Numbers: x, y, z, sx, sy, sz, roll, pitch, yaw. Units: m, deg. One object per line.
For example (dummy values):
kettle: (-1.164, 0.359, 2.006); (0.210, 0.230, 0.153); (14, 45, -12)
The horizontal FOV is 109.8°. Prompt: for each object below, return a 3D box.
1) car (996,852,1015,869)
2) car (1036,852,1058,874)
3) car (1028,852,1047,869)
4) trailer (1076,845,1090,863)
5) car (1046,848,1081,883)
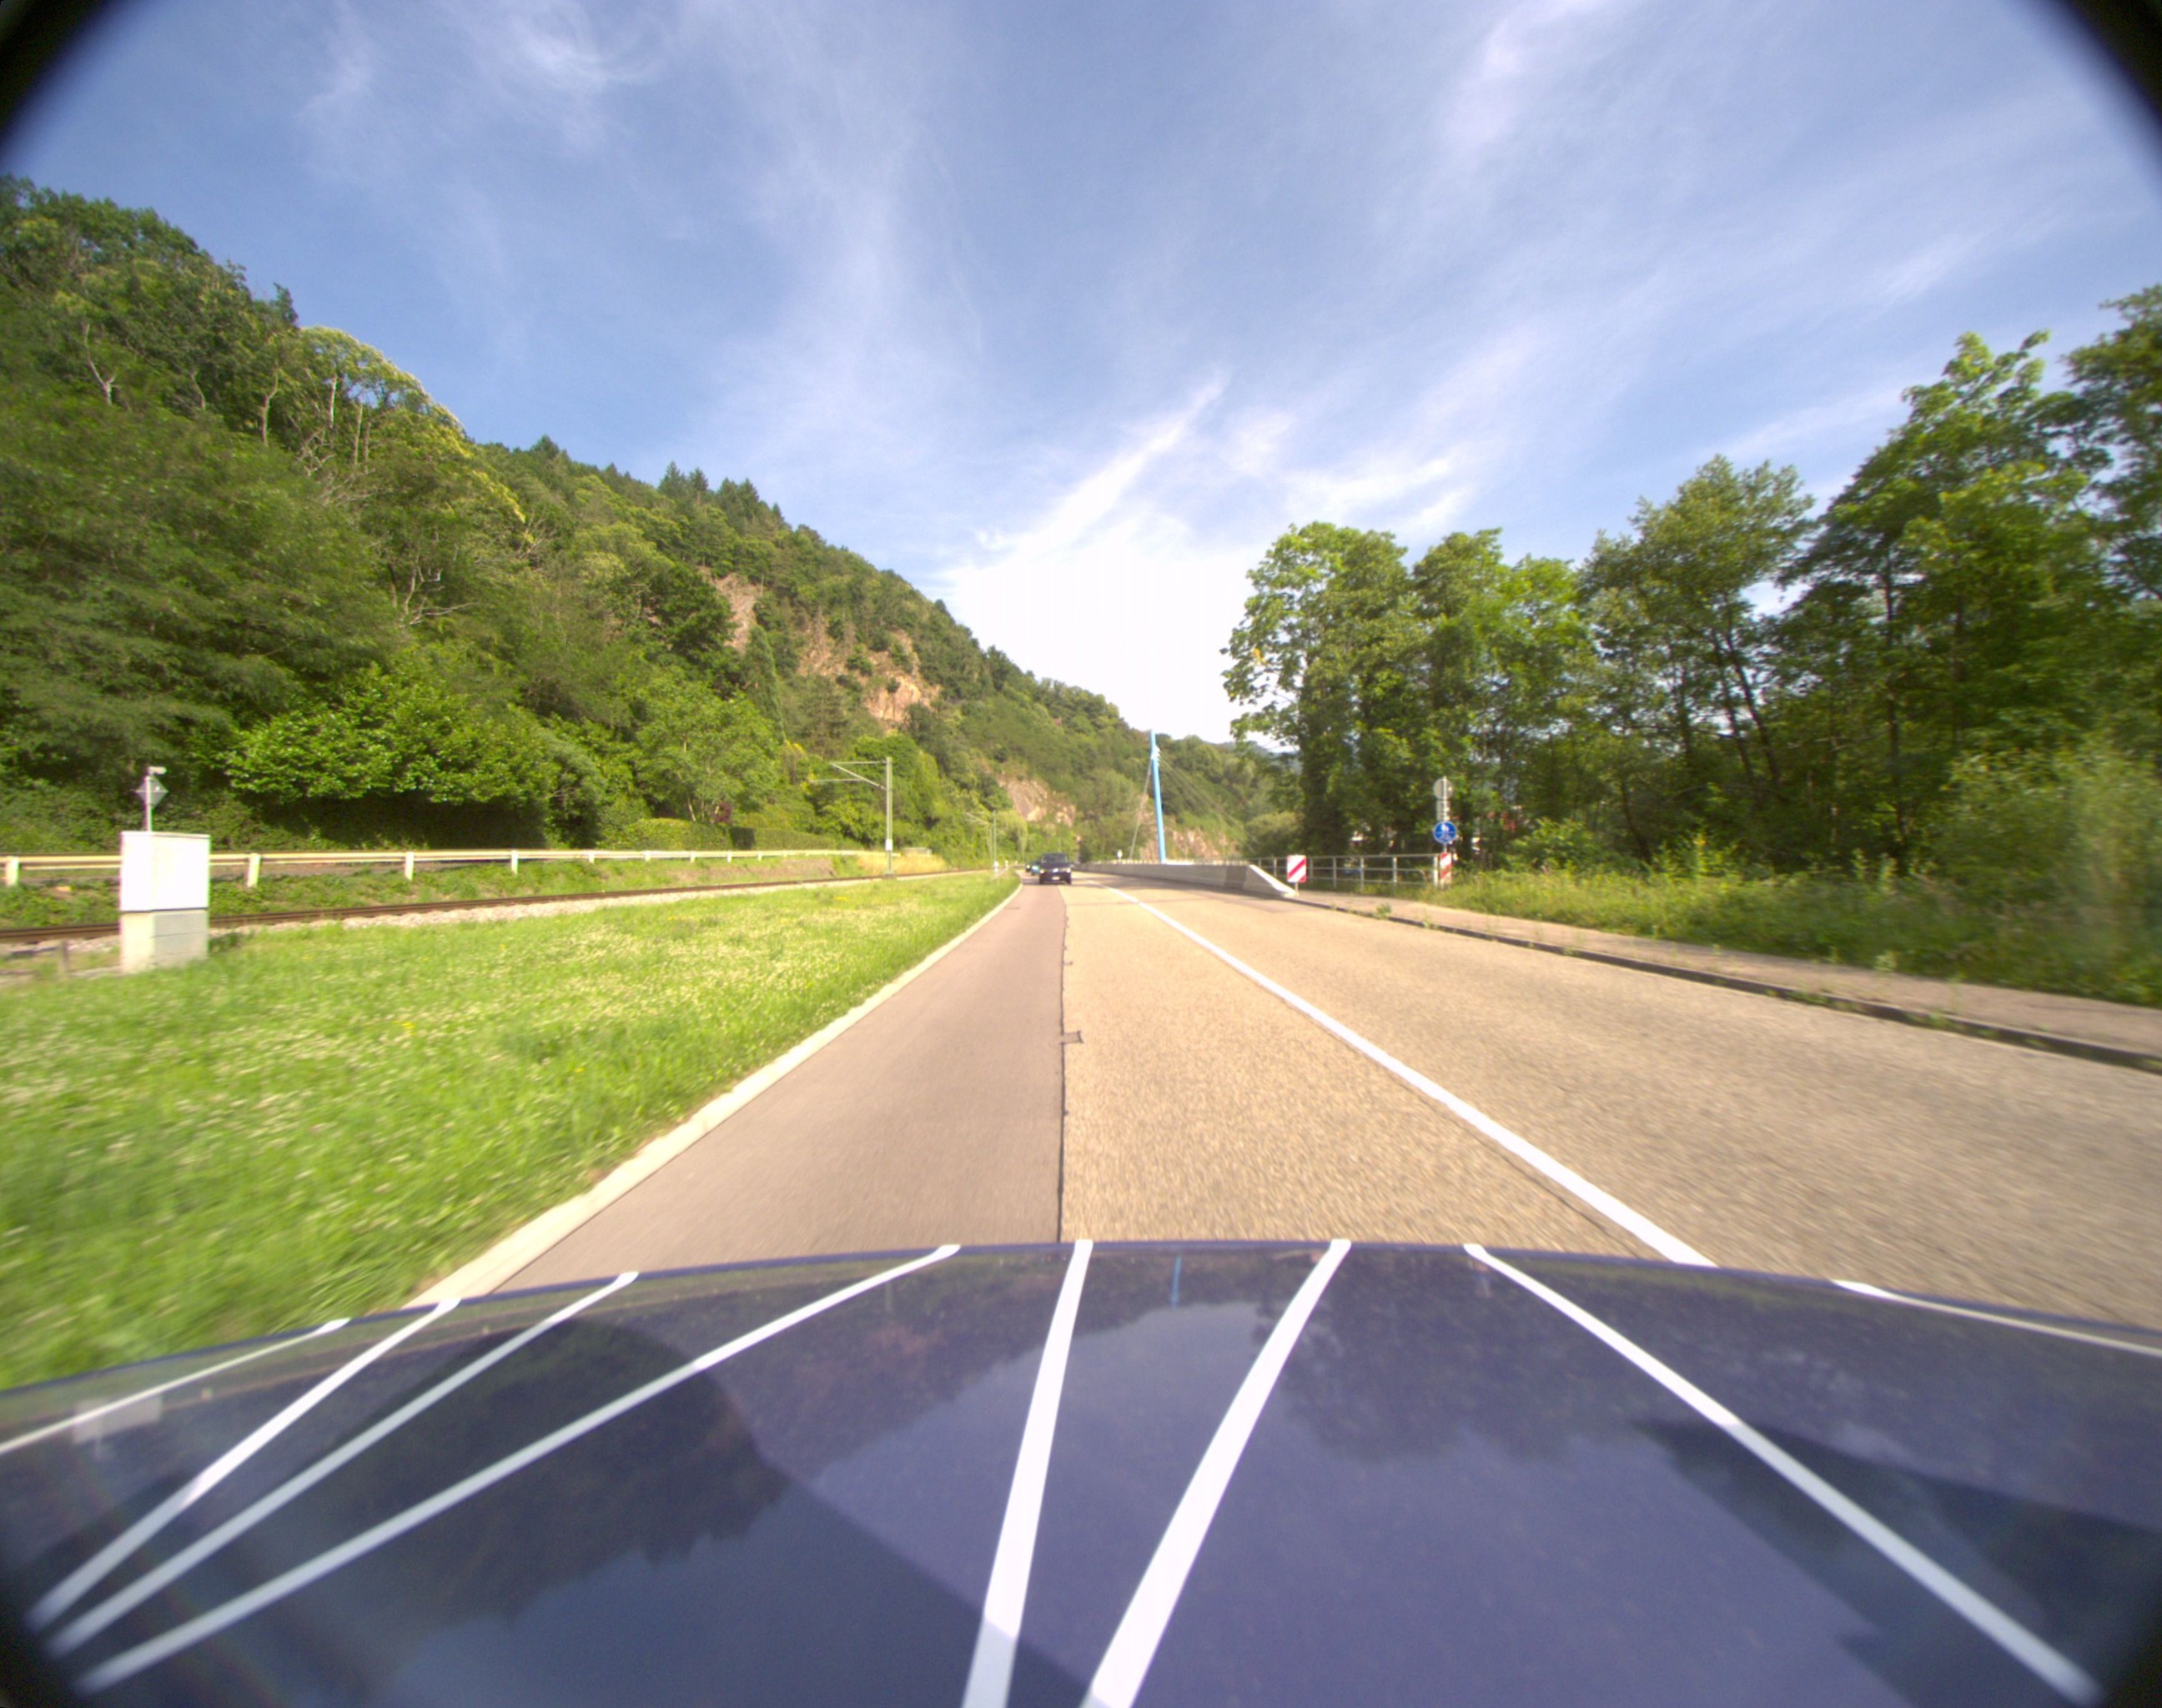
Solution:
car: (-9.236, 0.745, 93.058); (1.999, 2.002, 3.999); (1, 0, -1)
car: (-3.246, 0.803, 71.678); (1.999, 2.002, 3.998); (1, 0, -4)
car: (-5.290, 0.826, 92.527); (1.998, 2.002, 4.000); (1, 0, 1)
trailer: (0.449, -0.020, 174.456); (2.864, 3.989, 13.669); (1, 0, -1)
car: (-1.127, 0.730, 46.138); (1.999, 2.001, 4.000); (0, -2, -3)
